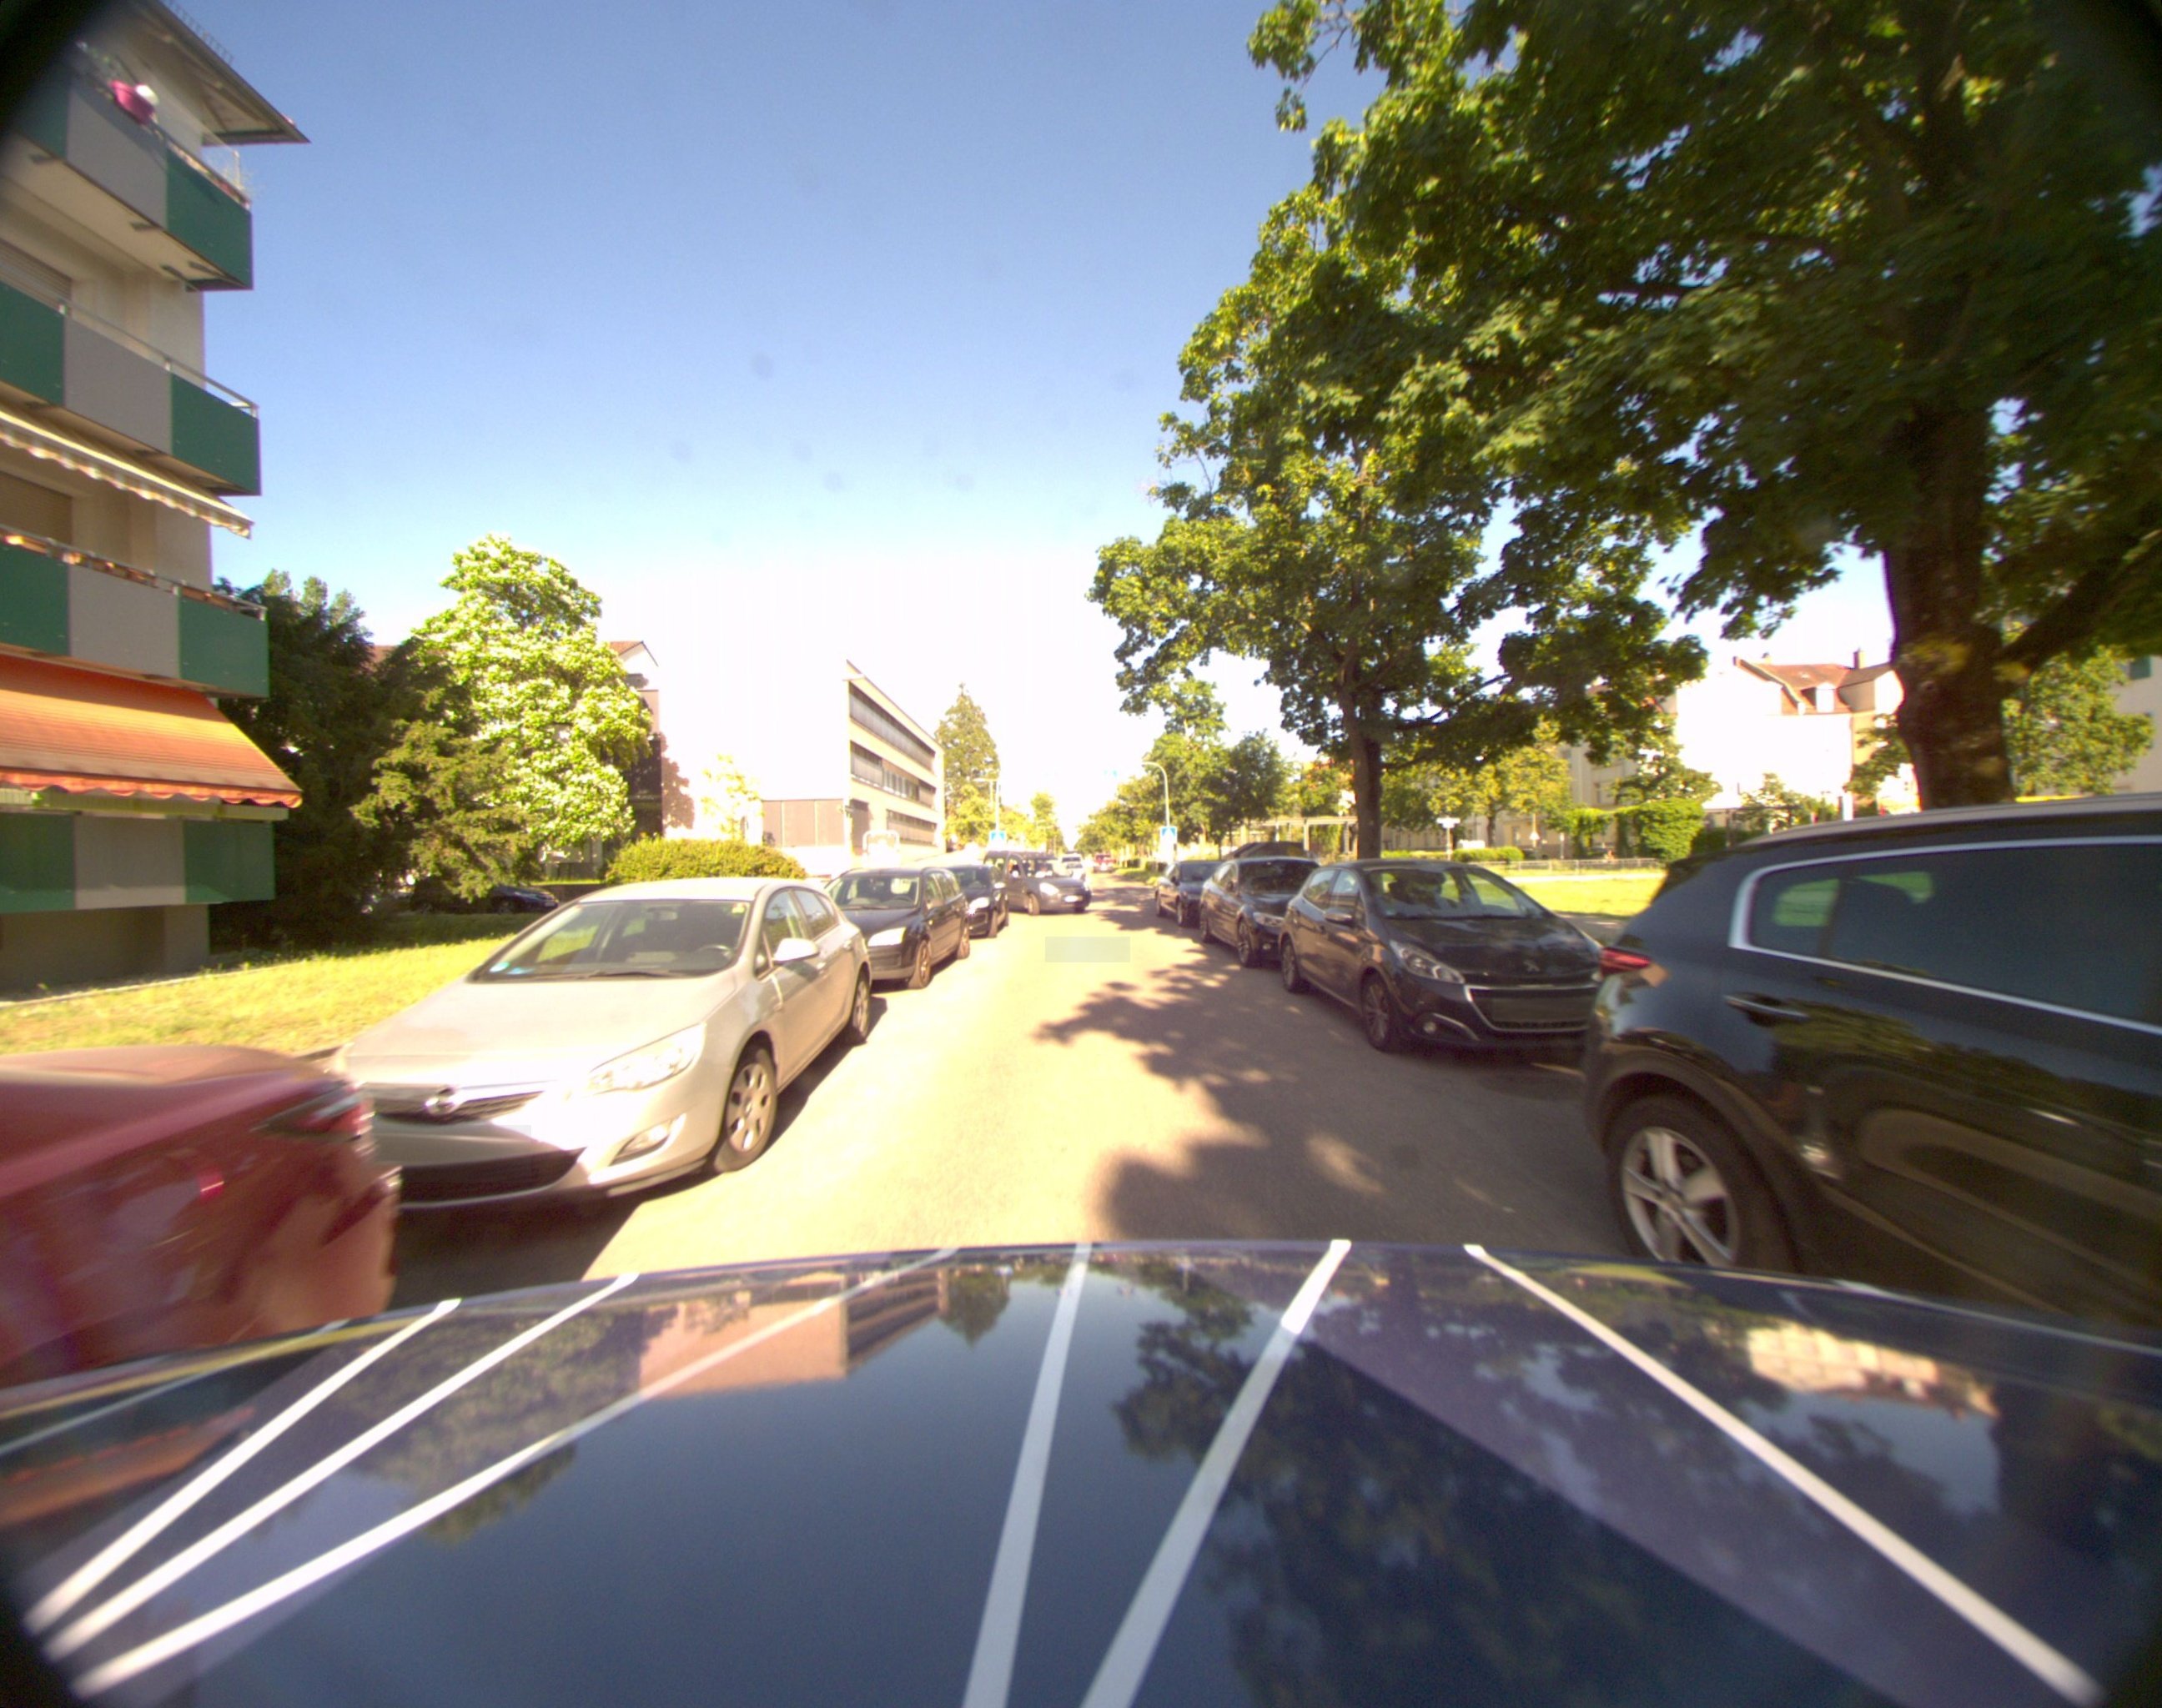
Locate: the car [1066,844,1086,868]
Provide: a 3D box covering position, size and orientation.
[{"bbox_3d":[-0.560,0.206,89.303,2.074,2.583,6.202,-2,0,1],"label":"car"}]

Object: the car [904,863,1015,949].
[{"bbox_3d":[-2.432,0.991,16.099,1.663,1.465,3.792,-3,0,0],"label":"car"}]

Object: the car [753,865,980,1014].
[{"bbox_3d":[-2.659,0.970,10.624,1.774,1.520,4.557,-2,0,1],"label":"car"}]

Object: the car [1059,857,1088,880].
[{"bbox_3d":[-0.408,0.882,48.229,1.652,1.324,4.934,-2,0,1],"label":"car"}]

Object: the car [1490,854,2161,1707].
[{"bbox_3d":[2.855,0.819,1.095,2.031,1.616,4.757,0,0,1],"label":"car"}]

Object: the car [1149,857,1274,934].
[{"bbox_3d":[2.817,0.832,17.588,1.840,1.444,4.967,-1,0,-2],"label":"car"}]

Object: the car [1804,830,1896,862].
[{"bbox_3d":[49.887,-0.510,49.337,3.812,1.944,2.043,-2,0,1],"label":"car"}]

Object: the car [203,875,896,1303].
[{"bbox_3d":[-2.673,1.006,5.333,1.878,1.525,4.491,-2,0,-4],"label":"car"}]

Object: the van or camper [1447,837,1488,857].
[{"bbox_3d":[42.257,-0.762,83.200,2.273,2.002,4.373,-2,1,0],"label":"van or camper"}]

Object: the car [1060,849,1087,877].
[{"bbox_3d":[-0.498,0.639,55.844,1.788,1.899,4.626,-2,0,1],"label":"car"}]

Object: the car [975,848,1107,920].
[{"bbox_3d":[-1.242,0.786,21.539,1.907,1.779,4.147,-2,0,-32],"label":"car"}]

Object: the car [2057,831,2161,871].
[{"bbox_3d":[37.115,-0.113,26.482,1.654,1.325,3.514,-1,0,-1],"label":"car"}]

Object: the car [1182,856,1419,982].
[{"bbox_3d":[3.043,0.799,11.897,1.999,1.507,5.156,0,0,-3],"label":"car"}]

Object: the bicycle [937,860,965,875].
[{"bbox_3d":[-10.258,1.052,59.887,2.030,1.057,0.882,1,1,-1],"label":"bicycle"}]

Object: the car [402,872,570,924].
[{"bbox_3d":[-19.434,1.409,24.938,3.981,1.502,1.823,-2,0,-2],"label":"car"}]

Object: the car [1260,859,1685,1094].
[{"bbox_3d":[2.987,0.812,6.831,1.885,1.411,3.803,-1,1,1],"label":"car"}]

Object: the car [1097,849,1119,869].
[{"bbox_3d":[2.753,0.470,76.505,2.021,1.867,4.741,-2,0,3],"label":"car"}]
